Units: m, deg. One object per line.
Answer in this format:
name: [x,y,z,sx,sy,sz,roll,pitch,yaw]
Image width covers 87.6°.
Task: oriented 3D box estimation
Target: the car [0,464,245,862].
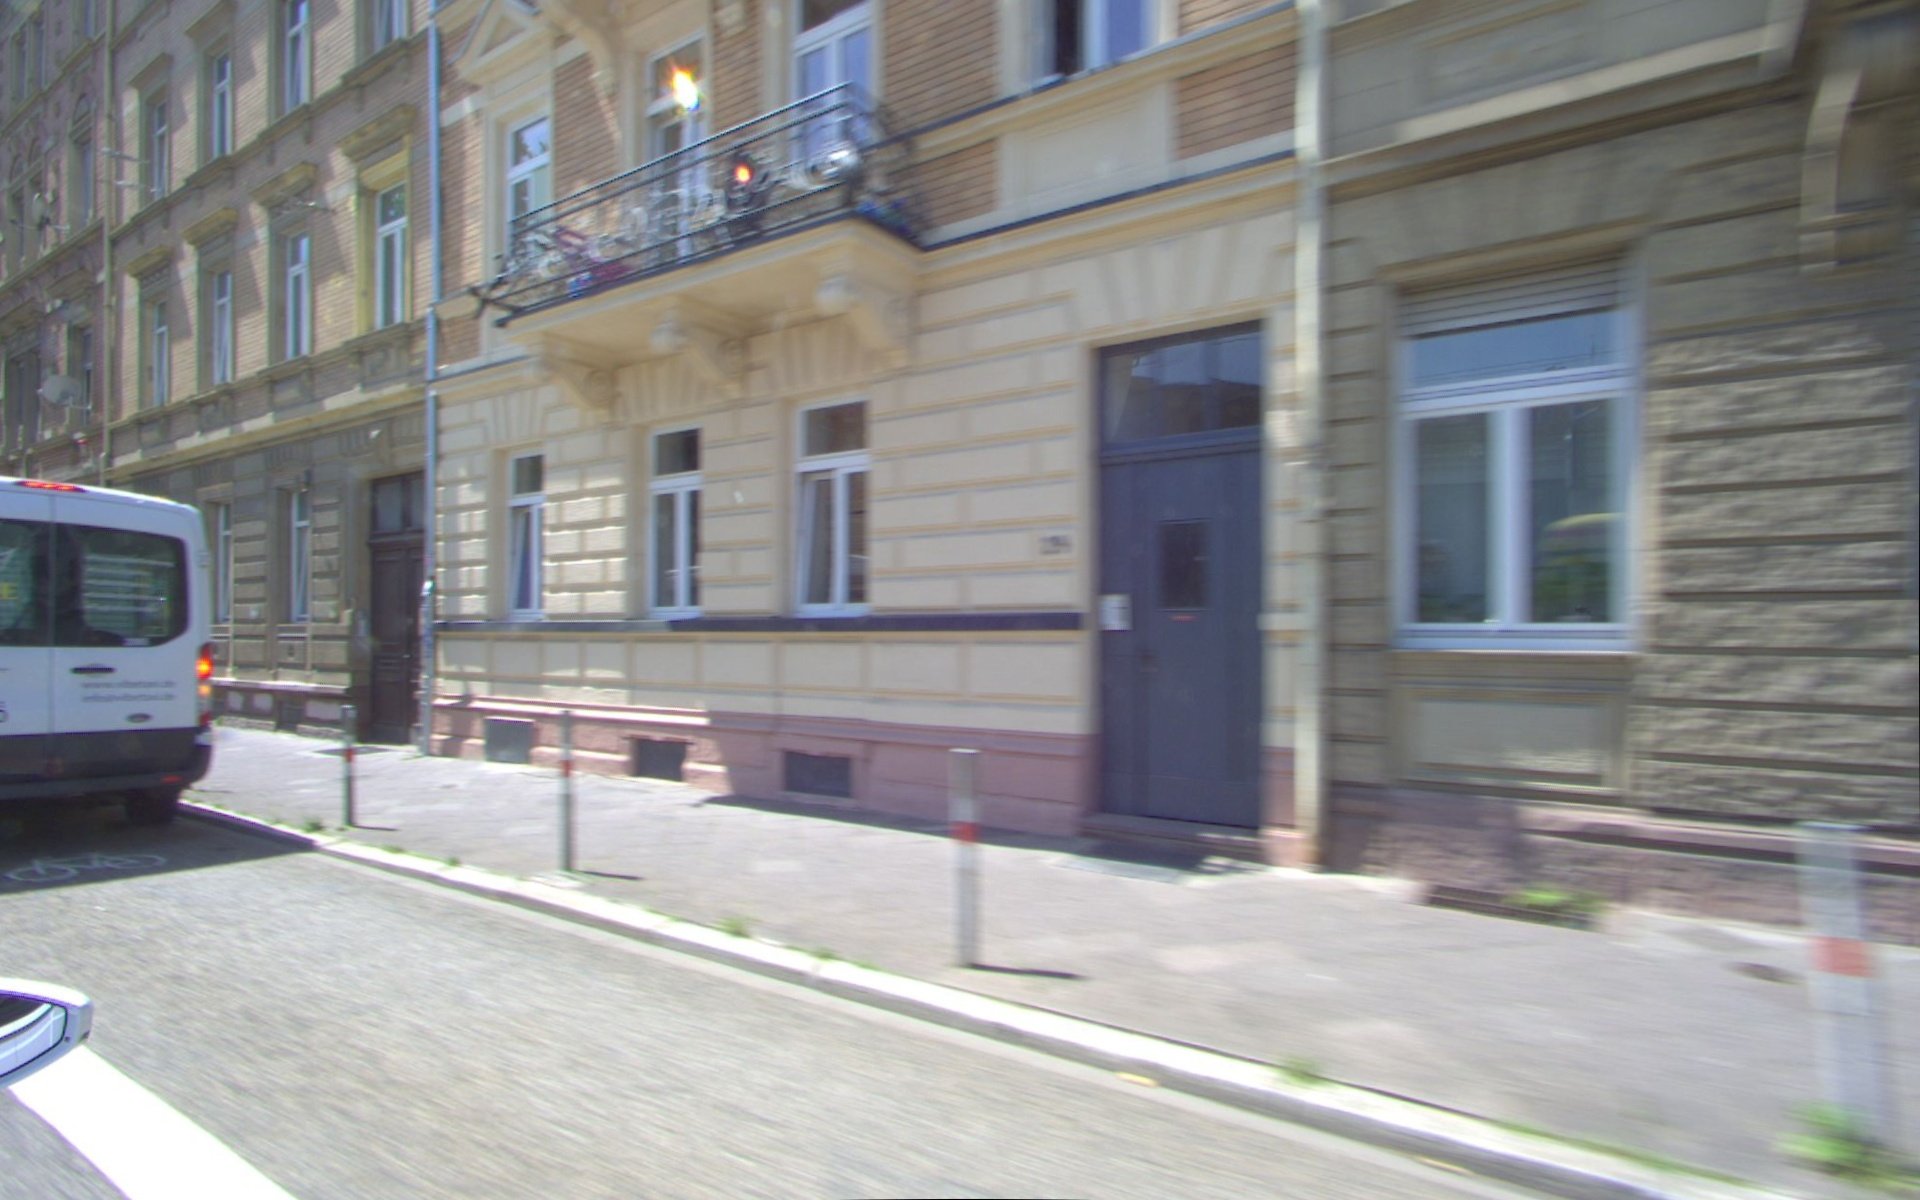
car: [-8.126,0.453,8.175,5.382,2.532,2.062,-1,-3,36]
